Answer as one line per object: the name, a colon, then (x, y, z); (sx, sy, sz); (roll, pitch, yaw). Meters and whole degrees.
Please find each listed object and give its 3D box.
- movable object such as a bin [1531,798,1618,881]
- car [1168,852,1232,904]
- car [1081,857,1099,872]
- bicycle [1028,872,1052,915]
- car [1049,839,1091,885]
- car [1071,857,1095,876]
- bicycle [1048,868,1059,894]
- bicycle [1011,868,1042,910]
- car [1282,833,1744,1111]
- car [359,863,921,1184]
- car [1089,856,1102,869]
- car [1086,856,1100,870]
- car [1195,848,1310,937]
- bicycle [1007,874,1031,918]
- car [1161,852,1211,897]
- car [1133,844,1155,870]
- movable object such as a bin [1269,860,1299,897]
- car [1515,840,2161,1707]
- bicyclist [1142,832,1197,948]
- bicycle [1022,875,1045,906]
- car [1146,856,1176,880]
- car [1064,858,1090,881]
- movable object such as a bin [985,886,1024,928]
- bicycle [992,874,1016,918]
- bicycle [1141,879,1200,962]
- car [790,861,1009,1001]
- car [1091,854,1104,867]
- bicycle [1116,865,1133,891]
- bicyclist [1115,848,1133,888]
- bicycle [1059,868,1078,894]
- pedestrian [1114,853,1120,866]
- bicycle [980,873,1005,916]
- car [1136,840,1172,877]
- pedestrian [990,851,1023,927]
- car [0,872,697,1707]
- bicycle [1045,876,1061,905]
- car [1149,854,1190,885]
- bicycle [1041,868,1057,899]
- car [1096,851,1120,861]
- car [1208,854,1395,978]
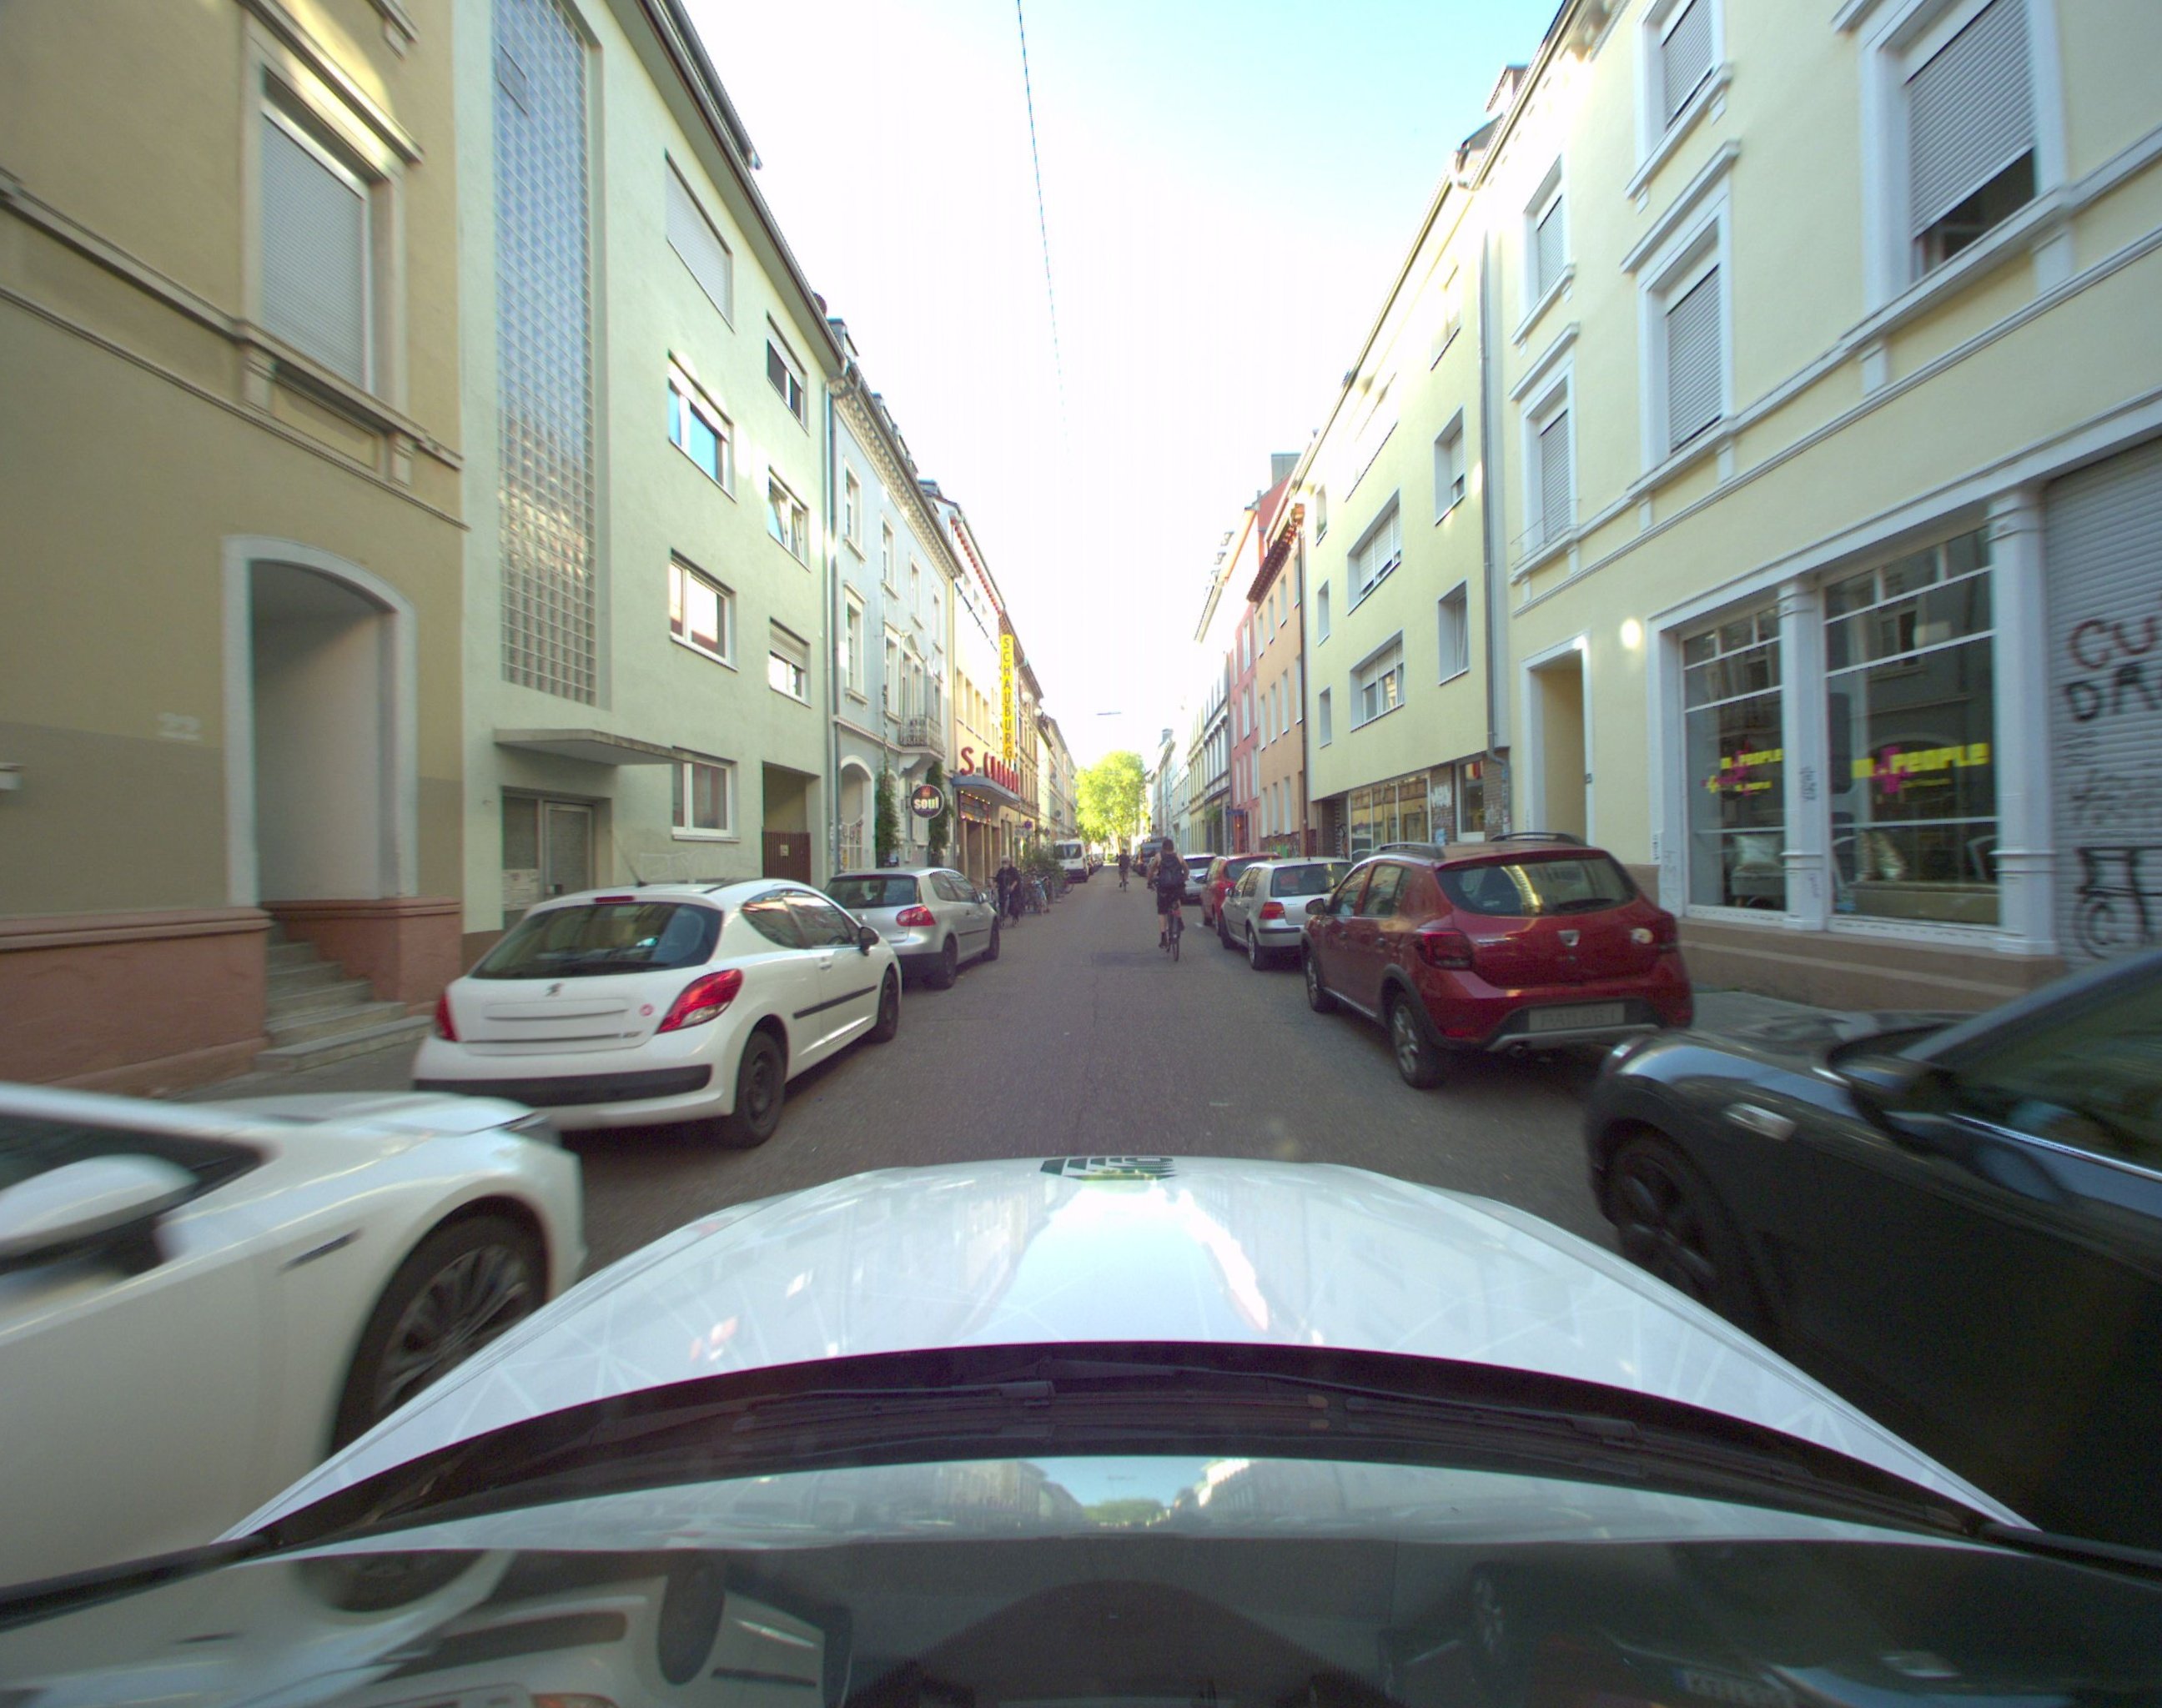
movable object such as a bin: (5.806, -0.170, 9.605); (0.704, 0.935, 0.511); (-1, 0, 1)
car: (3.865, 0.728, 27.026); (1.738, 1.556, 4.175); (-2, 0, 3)
car: (0.972, 1.079, 82.365); (1.585, 1.440, 3.657); (-2, 0, 3)
bicycle: (-1.118, 1.072, 22.493); (0.497, 1.105, 1.831); (-1, 0, 2)
car: (-0.596, 0.469, 49.039); (2.160, 2.452, 5.922); (-3, 0, 1)
car: (0.174, 0.994, 66.374); (1.856, 1.440, 4.645); (-2, 0, 0)
bicycle: (-1.205, 1.165, 35.577); (0.441, 1.047, 1.864); (0, 0, -1)
bicycle: (-1.602, 1.030, 24.087); (0.810, 1.175, 0.920); (-1, 0, 0)
car: (2.994, 0.689, 6.726); (1.782, 1.551, 4.002); (-2, 0, 2)
car: (-2.537, 0.848, 5.949); (1.783, 1.451, 4.002); (-2, 0, 2)
car: (1.857, 1.043, 104.733); (1.540, 1.550, 3.464); (-2, 0, -1)
car: (1.470, 1.049, 97.362); (1.599, 1.530, 3.379); (-3, 0, 1)
car: (3.397, 0.703, 16.820); (1.690, 1.523, 3.984); (-3, 0, 3)
bicycle: (-1.703, 1.125, 22.475); (0.441, 1.105, 1.933); (-1, 0, 2)
car: (4.039, 0.774, 31.841); (1.595, 1.539, 3.453); (-4, 0, 3)
car: (6.637, 0.332, 85.609); (2.194, 2.551, 6.043); (-2, 0, 4)
movable object such as a bin: (6.217, 0.740, 25.014); (0.689, 1.058, 0.737); (-4, 0, 3)
car: (2.630, 0.725, 1.207); (1.755, 1.522, 4.382); (-1, 0, 2)
bicyclist: (1.323, 0.528, 12.344); (0.737, 1.679, 1.117); (0, 0, 2)
bicycle: (-1.567, 1.203, 27.003); (0.551, 0.944, 1.573); (-2, 0, 3)
car: (5.142, 0.858, 52.787); (1.740, 1.444, 4.174); (-1, 0, 2)
car: (-0.233, 0.998, 55.086); (1.640, 1.447, 3.840); (-2, 0, 1)
movable object such as a bin: (-1.706, 1.176, 18.183); (0.843, 0.898, 0.584); (0, -1, -6)
bicycle: (-2.071, 1.108, 22.046); (0.442, 1.105, 1.874); (-1, 0, 1)
bicycle: (1.324, 0.959, 12.405); (0.737, 1.100, 2.043); (0, 0, 2)
car: (-2.222, 0.893, 11.148); (1.672, 1.454, 4.040); (-3, 0, 6)
car: (2.383, 0.929, 116.932); (1.781, 1.737, 3.878); (-2, 0, 2)
bicycle: (1.840, 0.994, 34.403); (0.661, 1.037, 1.960); (-2, 0, 2)
bicyclist: (1.805, 0.594, 34.393); (0.667, 1.658, 0.877); (-2, 0, 2)
bicycle: (-0.538, 1.114, 34.491); (0.461, 1.047, 1.742); (0, 0, -13)
pedestrian: (5.010, 0.786, 112.762); (0.784, 1.817, 0.650); (0, 0, -4)
bicycle: (-2.443, 1.114, 22.614); (0.441, 1.105, 1.698); (-1, 0, 2)
car: (5.225, 0.300, 59.025); (2.167, 2.425, 6.312); (-3, 0, 2)
pedestrian: (-1.706, 0.782, 18.706); (0.712, 1.708, 0.671); (0, -1, -4)
car: (-2.469, 0.840, 1.086); (1.781, 1.462, 4.201); (-3, 0, 1)
bicycle: (-0.946, 1.208, 27.335); (0.388, 0.916, 1.394); (-2, 0, 3)
car: (4.702, 0.799, 43.894); (1.780, 1.454, 4.549); (-5, 0, 2)
bicycle: (-1.206, 1.096, 30.976); (0.544, 1.094, 1.881); (0, 0, -1)
car: (5.125, 0.442, 156.248); (4.458, 1.759, 1.865); (-2, 0, -2)
car: (3.073, 0.772, 12.241); (1.682, 1.453, 4.194); (-3, 0, 1)
